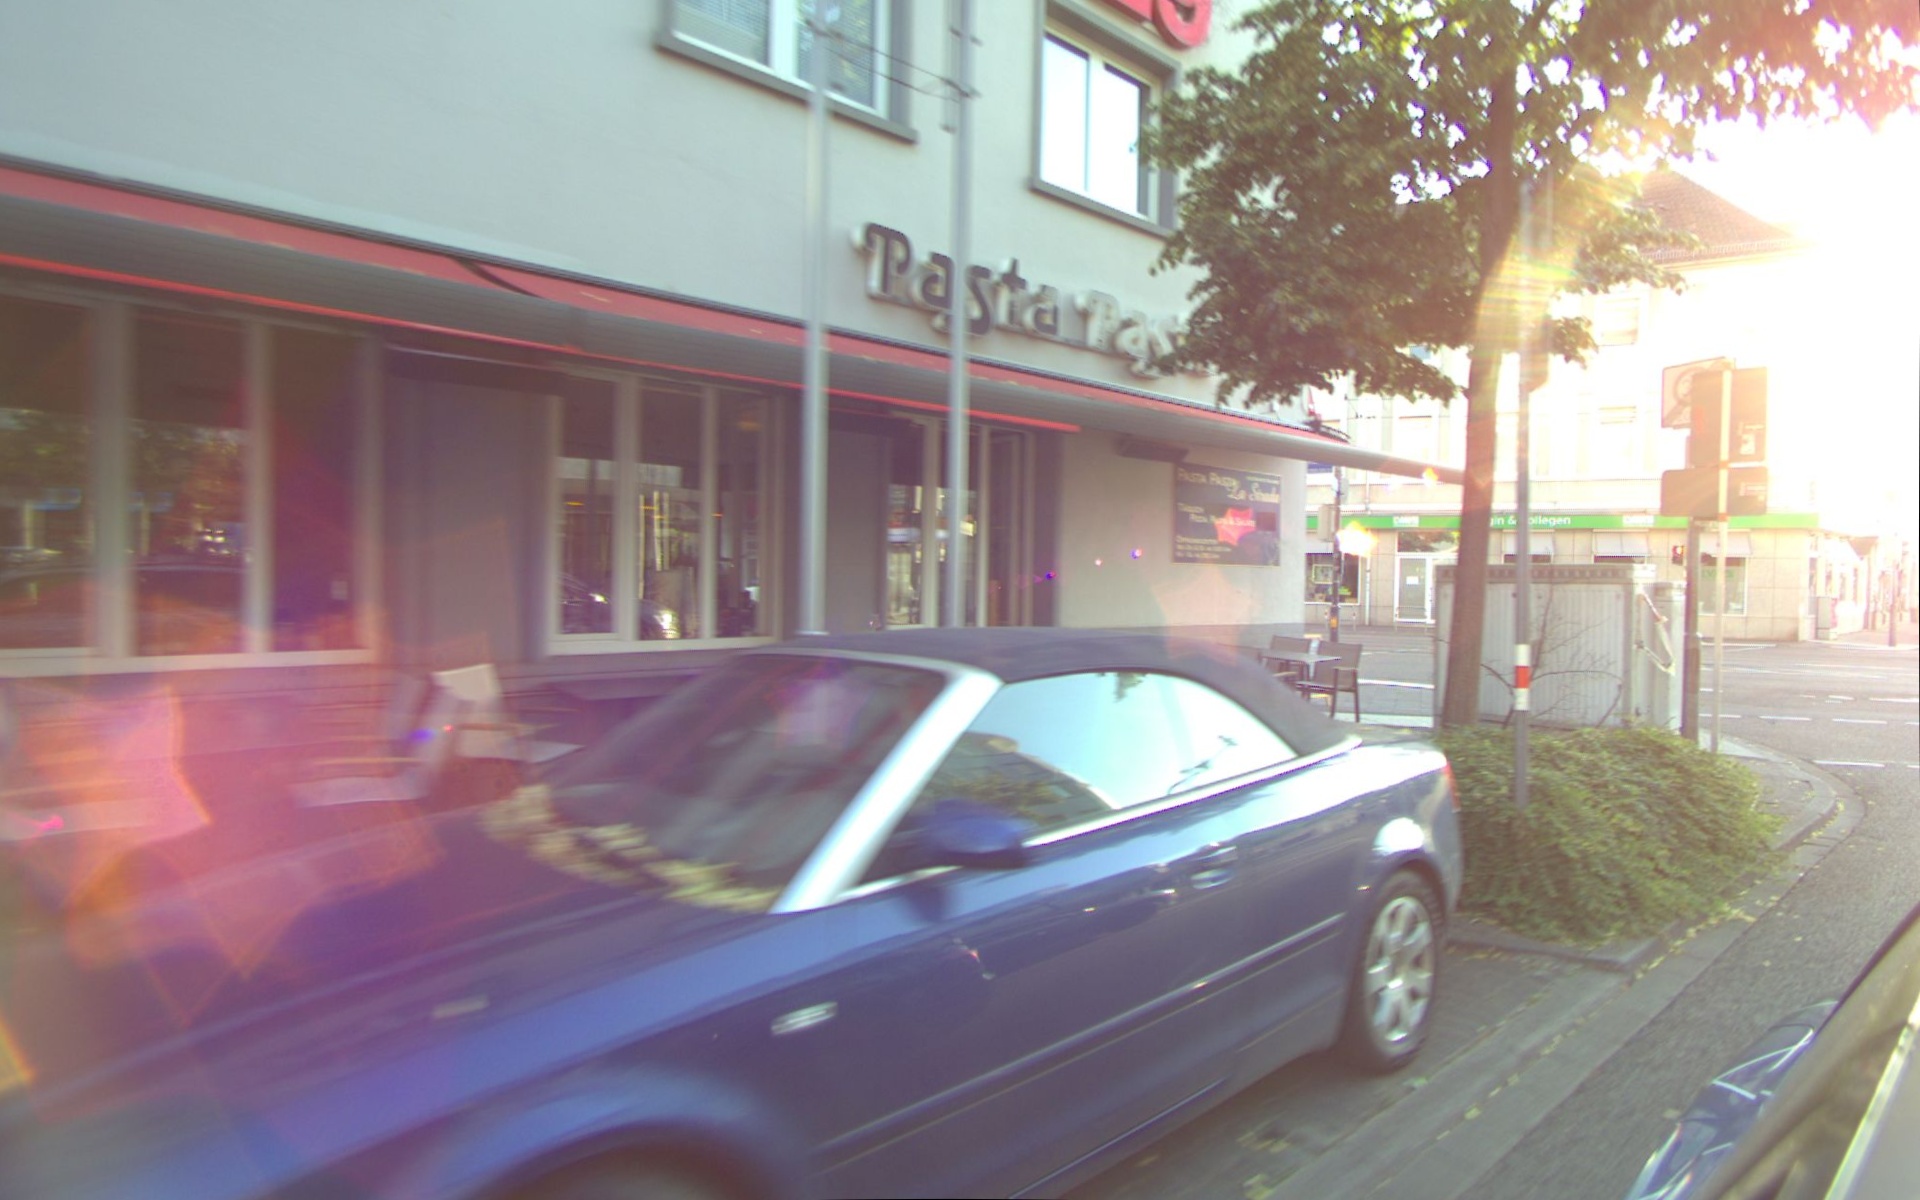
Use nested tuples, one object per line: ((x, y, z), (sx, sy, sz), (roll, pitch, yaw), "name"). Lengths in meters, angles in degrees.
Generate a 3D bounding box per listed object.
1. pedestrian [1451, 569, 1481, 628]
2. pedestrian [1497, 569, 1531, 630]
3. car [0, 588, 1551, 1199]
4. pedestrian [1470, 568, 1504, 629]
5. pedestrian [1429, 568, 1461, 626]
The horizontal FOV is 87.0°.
((15.684, -0.050, 31.388), (0.672, 1.794, 0.628), (0, 1, 9), "pedestrian")
((16.582, -0.031, 30.274), (0.775, 1.794, 0.895), (0, 1, 37), "pedestrian")
((-0.060, 0.685, 2.934), (4.111, 1.394, 1.939), (-1, 0, -43), "car")
((16.078, -0.061, 30.867), (0.775, 1.835, 0.895), (0, 1, 37), "pedestrian")
((14.997, -0.099, 31.301), (0.675, 1.794, 0.763), (0, 1, 9), "pedestrian")
